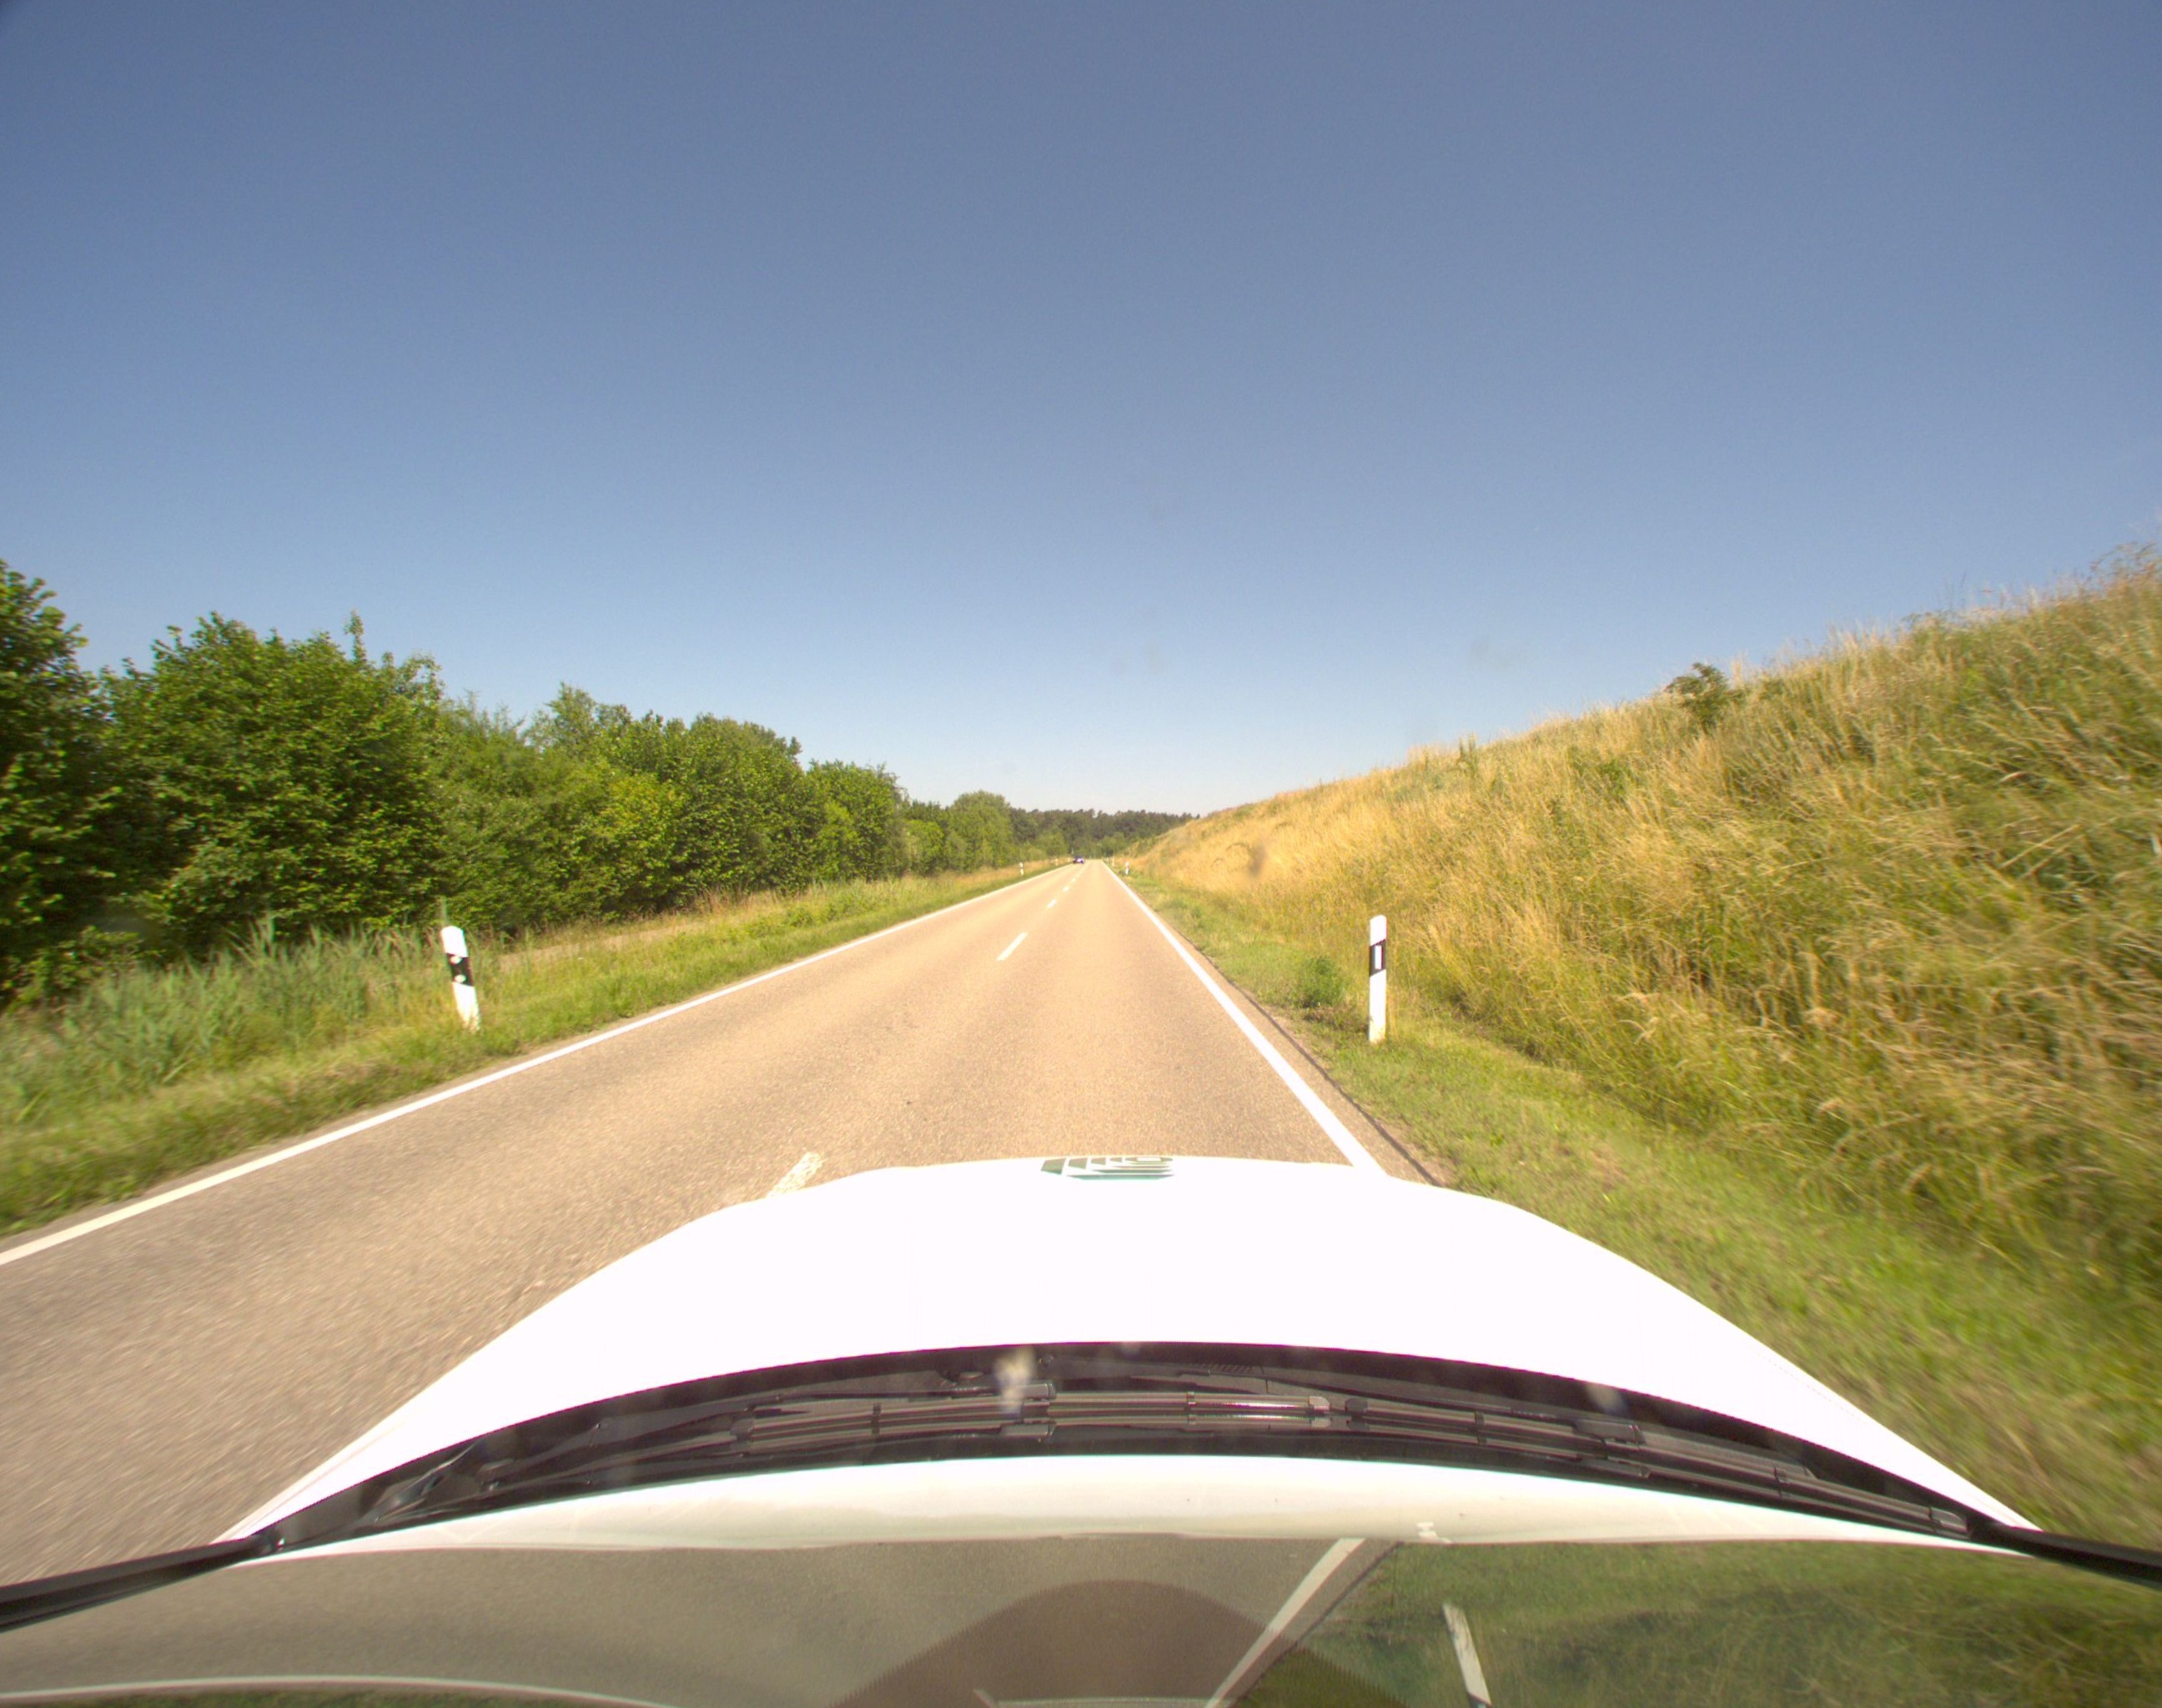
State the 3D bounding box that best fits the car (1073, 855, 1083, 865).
[{"bbox_3d":[-0.438,1.071,143.926,1.710,1.647,3.915,-1,0,0],"label":"car"}]
